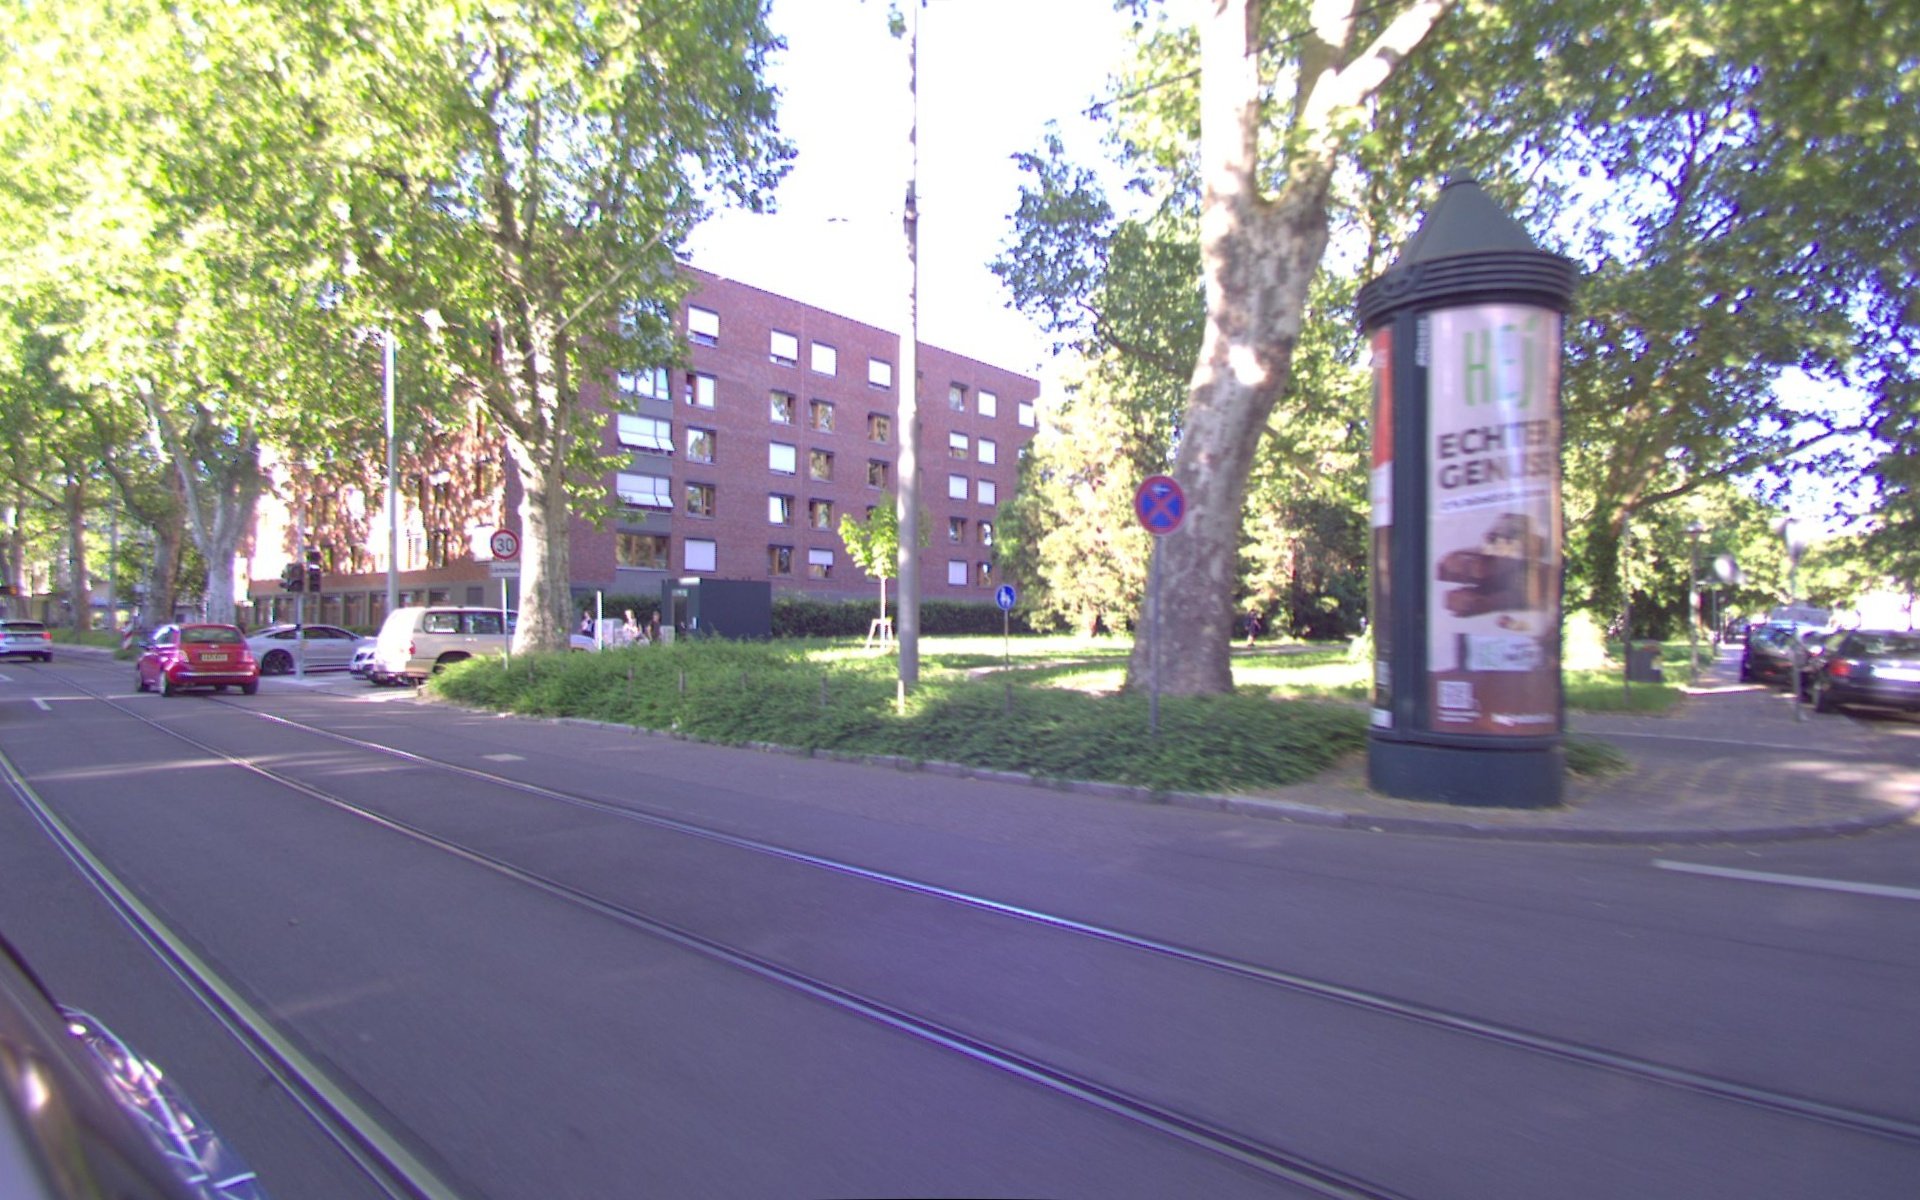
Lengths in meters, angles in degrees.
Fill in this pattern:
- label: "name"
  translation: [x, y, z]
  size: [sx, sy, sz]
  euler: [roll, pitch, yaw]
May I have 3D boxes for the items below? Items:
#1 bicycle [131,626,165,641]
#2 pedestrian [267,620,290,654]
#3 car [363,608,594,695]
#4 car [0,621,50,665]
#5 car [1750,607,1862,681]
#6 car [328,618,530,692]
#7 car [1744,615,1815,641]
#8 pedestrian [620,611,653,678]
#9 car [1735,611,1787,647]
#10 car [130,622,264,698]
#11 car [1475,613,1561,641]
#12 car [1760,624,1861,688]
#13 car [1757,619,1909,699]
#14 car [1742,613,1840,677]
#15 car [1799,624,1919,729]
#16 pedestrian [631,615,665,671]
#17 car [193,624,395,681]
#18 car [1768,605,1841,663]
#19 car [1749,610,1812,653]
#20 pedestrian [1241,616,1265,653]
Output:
- label: "bicycle"
  translation: [-65.957, 2.719, 82.226]
  size: [2.067, 1.198, 0.883]
  euler: [0, -1, -33]
- label: "pedestrian"
  translation: [-35.566, 1.913, 52.814]
  size: [0.971, 1.757, 0.756]
  euler: [-1, -1, 41]
- label: "car"
  translation: [-11.145, 1.109, 23.709]
  size: [1.937, 1.848, 4.525]
  euler: [-1, -1, 39]
- label: "car"
  translation: [-35.394, 1.574, 37.624]
  size: [4.114, 1.580, 1.796]
  euler: [-1, -3, 41]
- label: "car"
  translation: [24.866, 1.219, 29.891]
  size: [1.994, 2.029, 3.956]
  euler: [-1, -1, 32]
- label: "car"
  translation: [-13.256, 1.296, 25.438]
  size: [1.900, 1.659, 4.098]
  euler: [-1, -1, 39]
- label: "car"
  translation: [72.884, 2.460, 90.122]
  size: [4.735, 2.261, 1.976]
  euler: [-1, -1, 36]
- label: "pedestrian"
  translation: [-9.058, 1.232, 28.343]
  size: [0.636, 1.823, 0.752]
  euler: [1, -1, -44]
- label: "car"
  translation: [46.889, 1.652, 59.329]
  size: [1.995, 2.029, 4.691]
  euler: [-1, -1, 34]
- label: "car"
  translation: [-16.330, 1.211, 21.615]
  size: [3.472, 1.455, 1.643]
  euler: [-1, -1, 42]
- label: "car"
  translation: [33.225, 1.578, 60.284]
  size: [1.869, 1.630, 4.108]
  euler: [0, -1, -44]
- label: "car"
  translation: [21.831, 1.389, 26.095]
  size: [1.685, 1.461, 3.675]
  euler: [-1, -1, 35]
- label: "car"
  translation: [18.449, 1.168, 21.598]
  size: [1.818, 1.461, 4.433]
  euler: [-1, -1, 33]
- label: "car"
  translation: [28.483, 1.457, 34.837]
  size: [1.994, 2.029, 4.693]
  euler: [-1, -1, 32]
- label: "car"
  translation: [15.415, 1.177, 16.837]
  size: [1.856, 1.500, 4.488]
  euler: [-1, -1, 35]
- label: "pedestrian"
  translation: [-9.493, 1.301, 30.804]
  size: [0.779, 1.686, 0.702]
  euler: [-1, -1, 41]
- label: "car"
  translation: [-19.834, 1.504, 30.313]
  size: [1.953, 1.471, 4.717]
  euler: [-1, -1, 39]
- label: "car"
  translation: [34.067, 1.304, 40.935]
  size: [2.040, 2.214, 4.685]
  euler: [-1, -1, 37]
- label: "car"
  translation: [41.244, 1.545, 50.990]
  size: [1.995, 2.029, 4.691]
  euler: [-1, -1, 34]
- label: "pedestrian"
  translation: [13.462, 1.572, 46.554]
  size: [0.766, 1.686, 0.714]
  euler: [0, -1, -32]
